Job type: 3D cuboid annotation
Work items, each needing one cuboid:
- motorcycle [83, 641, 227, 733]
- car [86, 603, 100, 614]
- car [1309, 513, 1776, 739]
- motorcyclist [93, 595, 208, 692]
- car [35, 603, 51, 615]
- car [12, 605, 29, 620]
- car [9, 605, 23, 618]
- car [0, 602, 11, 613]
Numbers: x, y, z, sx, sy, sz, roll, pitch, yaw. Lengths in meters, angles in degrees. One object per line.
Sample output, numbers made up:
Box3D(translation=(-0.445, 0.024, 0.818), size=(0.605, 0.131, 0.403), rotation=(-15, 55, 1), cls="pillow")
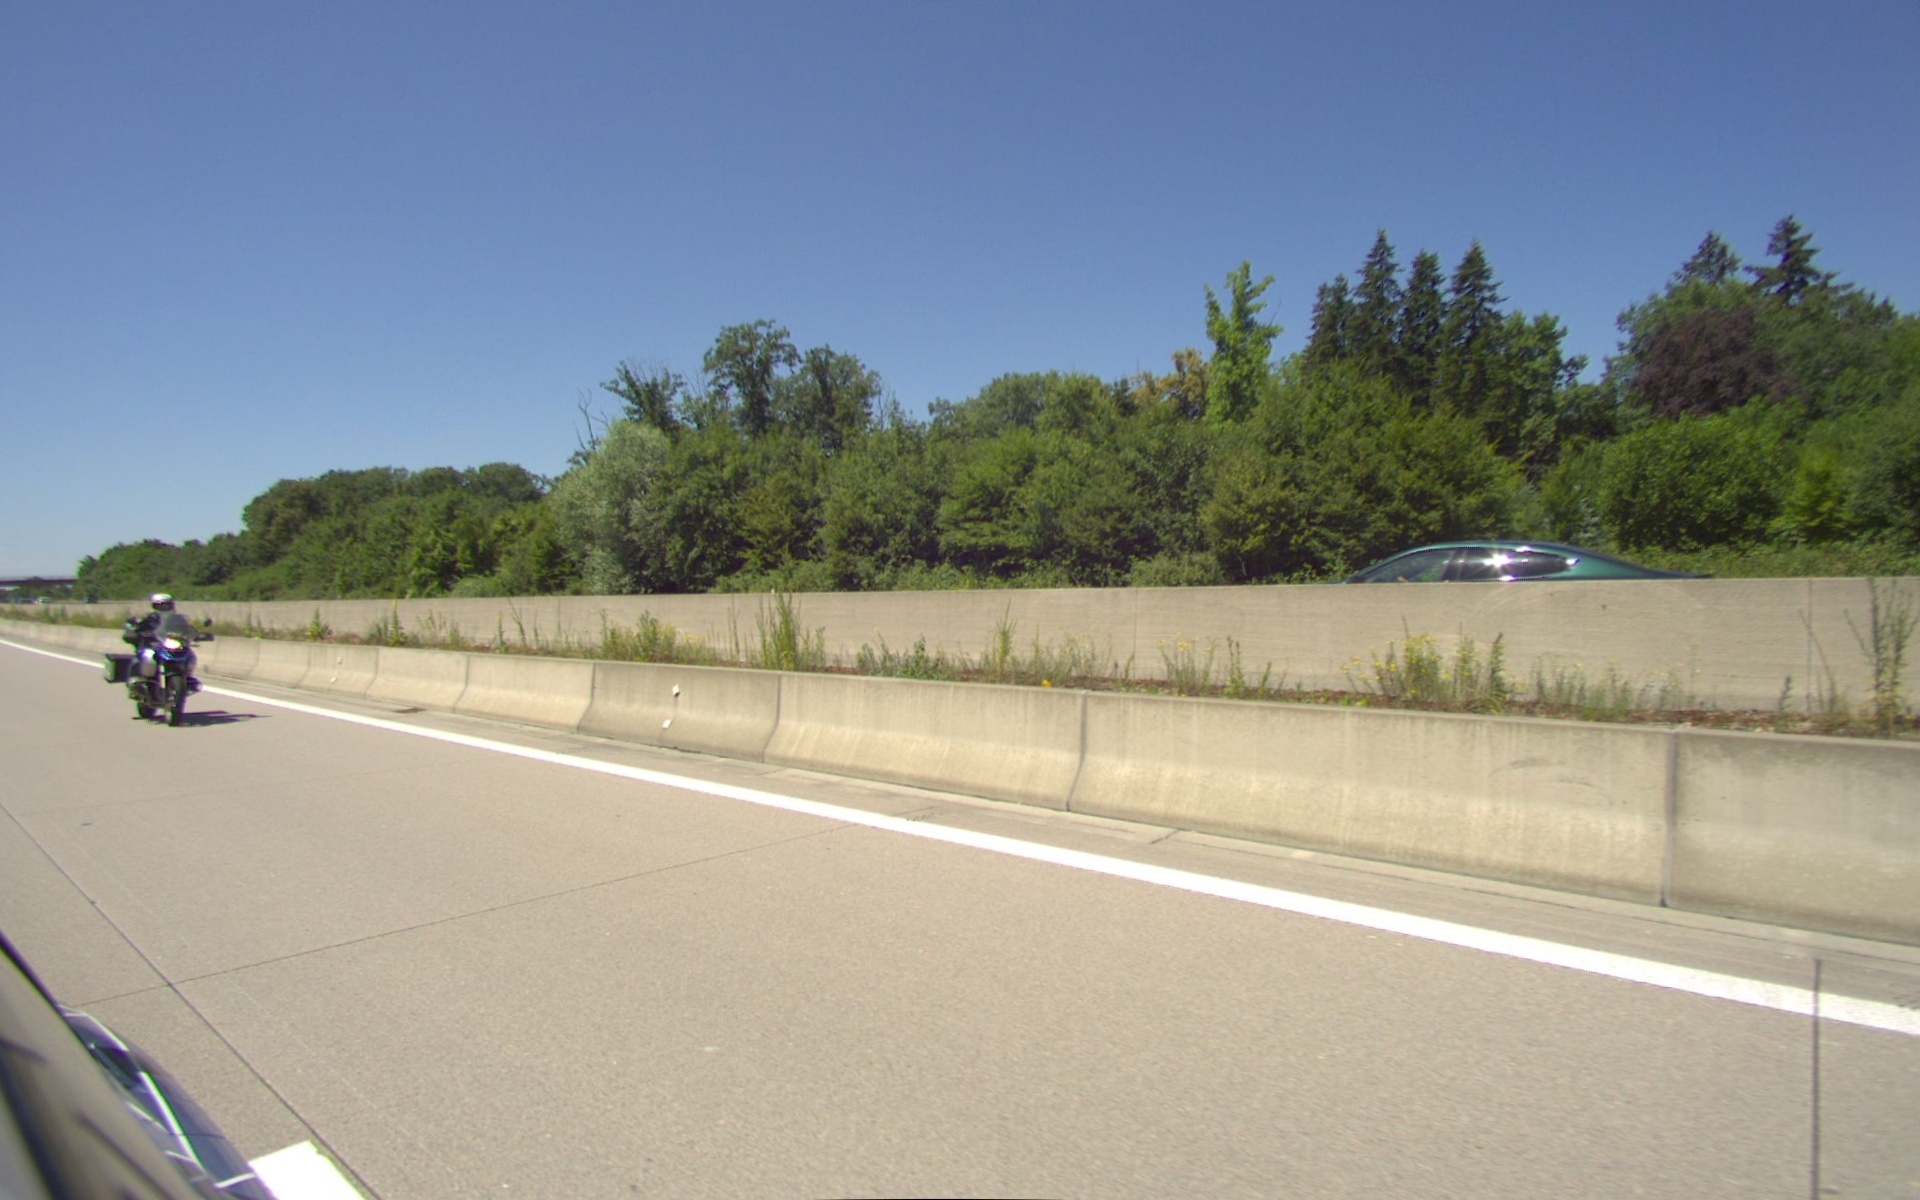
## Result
Box3D(translation=(-10.663, 1.098, 13.365), size=(2.410, 1.056, 1.011), rotation=(-1, -1, 39), cls="motorcycle")
Box3D(translation=(-137.776, 1.335, 160.830), size=(3.273, 1.728, 1.416), rotation=(-1, 0, 43), cls="car")
Box3D(translation=(5.969, 0.234, 10.653), size=(4.005, 1.936, 1.642), rotation=(-1, 0, 41), cls="car")
Box3D(translation=(-10.739, 0.554, 13.430), size=(0.910, 1.218, 1.015), rotation=(-2, -1, 38), cls="motorcyclist")
Box3D(translation=(-152.832, 1.517, 168.622), size=(4.104, 2.029, 1.616), rotation=(-1, 0, 43), cls="car")
Box3D(translation=(-131.318, 1.707, 141.408), size=(4.787, 2.029, 1.416), rotation=(-1, 0, 44), cls="car")
Box3D(translation=(-149.007, 1.750, 159.783), size=(3.521, 2.029, 1.416), rotation=(-1, 0, 43), cls="car")
Box3D(translation=(-177.602, 1.367, 188.089), size=(3.653, 2.029, 1.617), rotation=(-1, 0, 43), cls="car")
